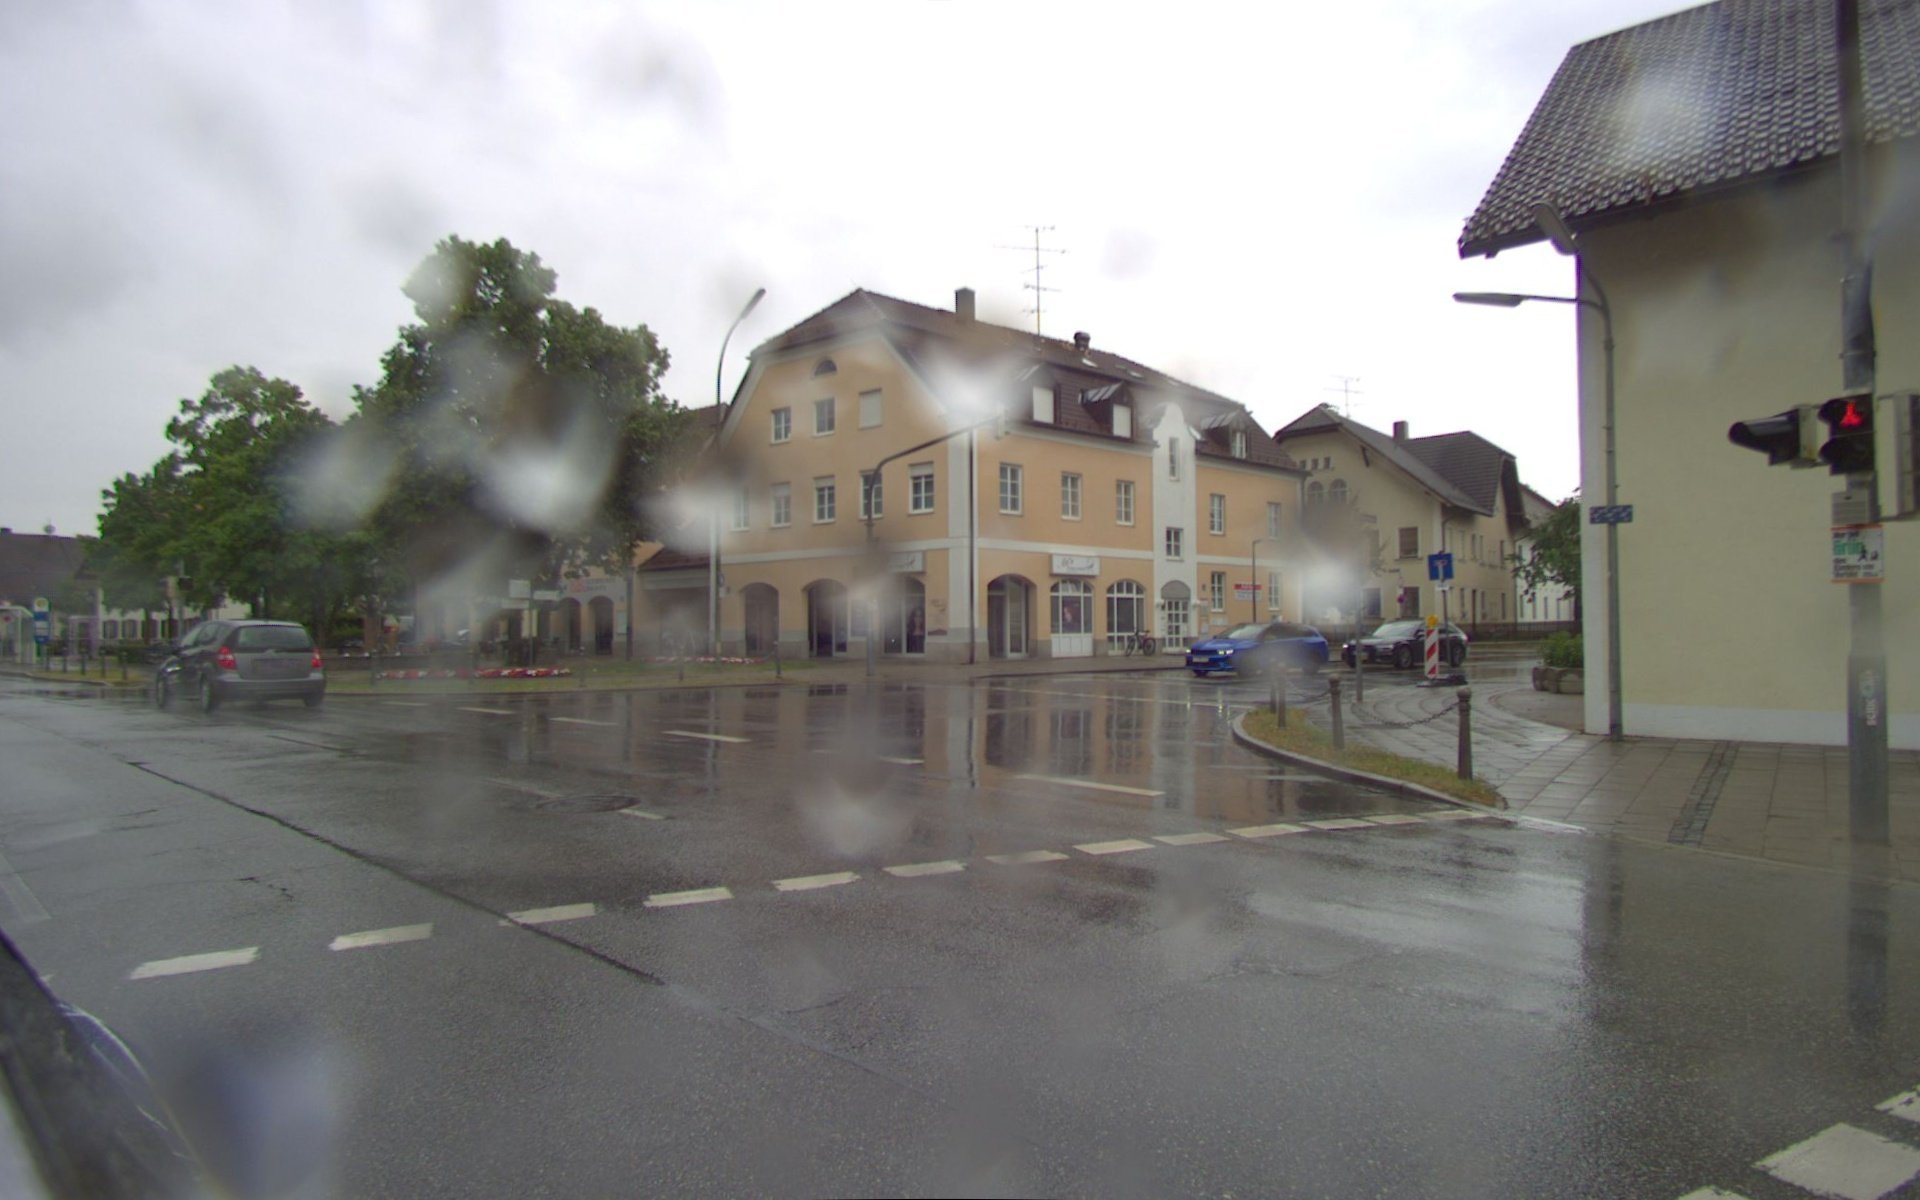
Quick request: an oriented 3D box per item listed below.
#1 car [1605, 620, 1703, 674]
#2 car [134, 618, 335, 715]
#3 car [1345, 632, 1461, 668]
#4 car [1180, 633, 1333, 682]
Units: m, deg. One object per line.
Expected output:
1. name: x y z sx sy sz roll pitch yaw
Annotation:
1. car: 23.632 1.580 34.393 2.089 1.686 4.323 -1 -3 44
2. car: -13.081 1.128 18.190 3.894 1.545 1.897 -1 -3 38
3. car: 13.755 1.512 31.377 4.006 1.025 1.427 1 -2 -35
4. car: 8.093 1.518 27.513 4.288 1.194 1.693 1 -2 -35
